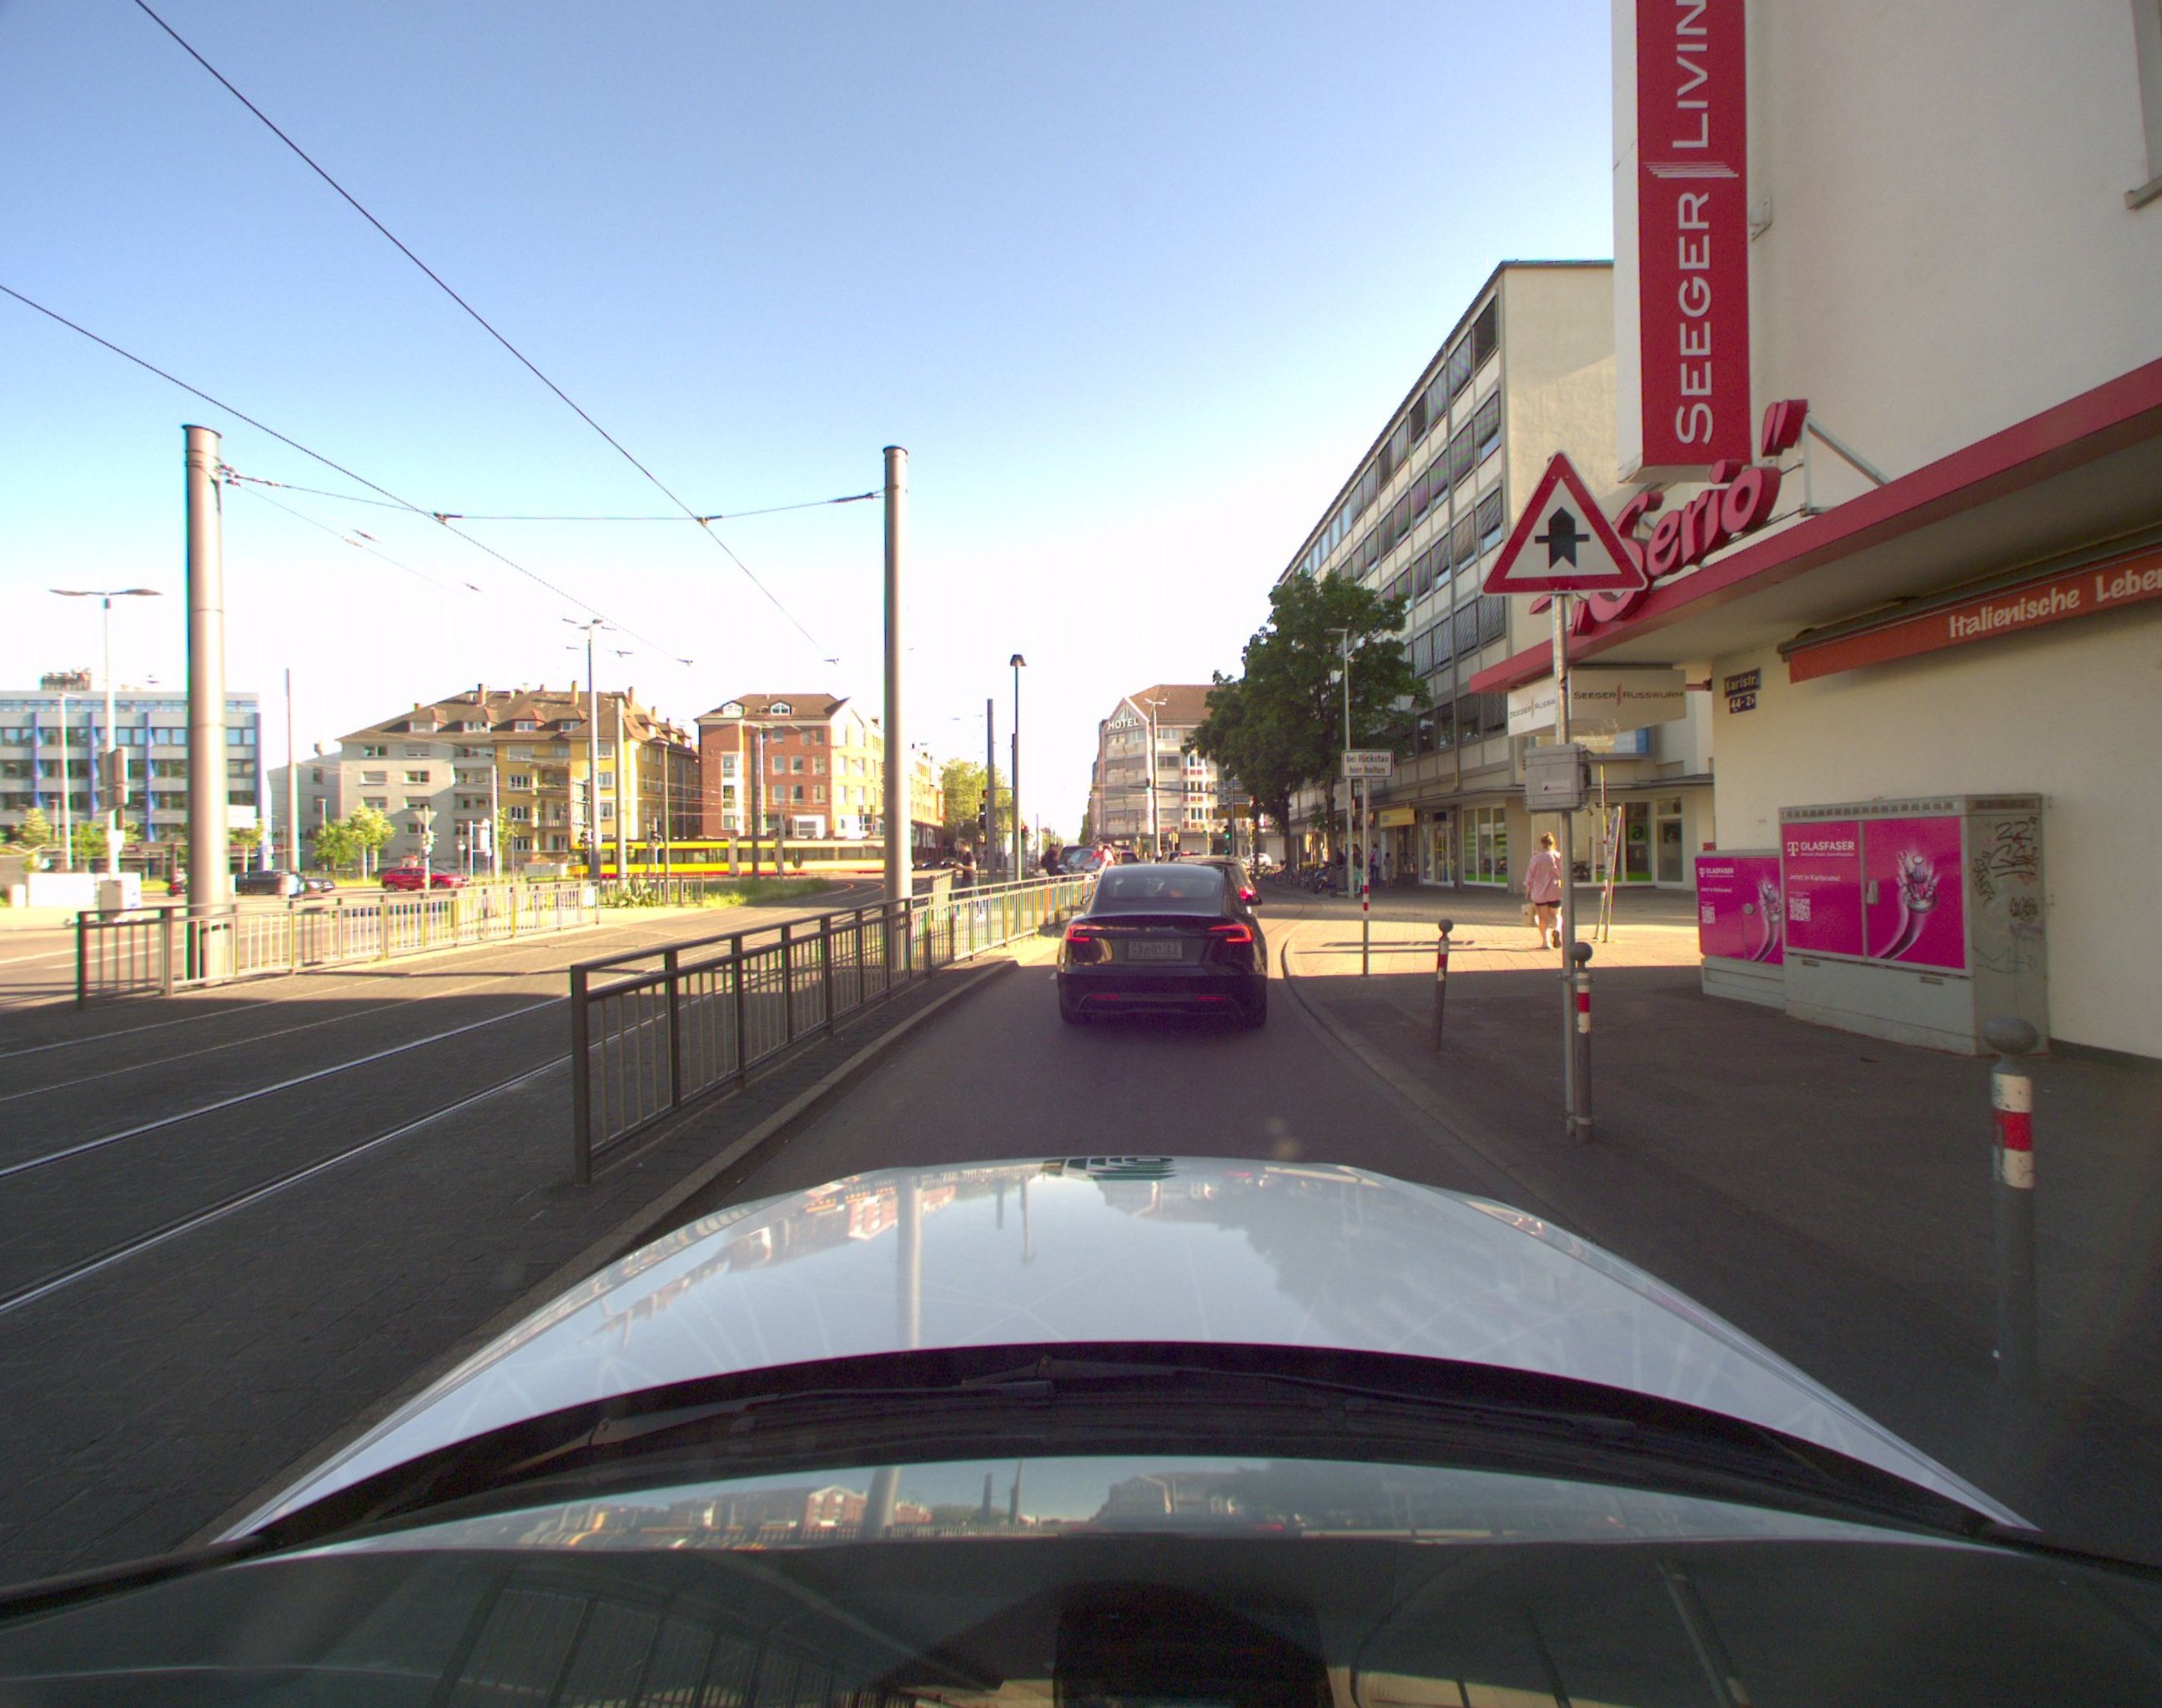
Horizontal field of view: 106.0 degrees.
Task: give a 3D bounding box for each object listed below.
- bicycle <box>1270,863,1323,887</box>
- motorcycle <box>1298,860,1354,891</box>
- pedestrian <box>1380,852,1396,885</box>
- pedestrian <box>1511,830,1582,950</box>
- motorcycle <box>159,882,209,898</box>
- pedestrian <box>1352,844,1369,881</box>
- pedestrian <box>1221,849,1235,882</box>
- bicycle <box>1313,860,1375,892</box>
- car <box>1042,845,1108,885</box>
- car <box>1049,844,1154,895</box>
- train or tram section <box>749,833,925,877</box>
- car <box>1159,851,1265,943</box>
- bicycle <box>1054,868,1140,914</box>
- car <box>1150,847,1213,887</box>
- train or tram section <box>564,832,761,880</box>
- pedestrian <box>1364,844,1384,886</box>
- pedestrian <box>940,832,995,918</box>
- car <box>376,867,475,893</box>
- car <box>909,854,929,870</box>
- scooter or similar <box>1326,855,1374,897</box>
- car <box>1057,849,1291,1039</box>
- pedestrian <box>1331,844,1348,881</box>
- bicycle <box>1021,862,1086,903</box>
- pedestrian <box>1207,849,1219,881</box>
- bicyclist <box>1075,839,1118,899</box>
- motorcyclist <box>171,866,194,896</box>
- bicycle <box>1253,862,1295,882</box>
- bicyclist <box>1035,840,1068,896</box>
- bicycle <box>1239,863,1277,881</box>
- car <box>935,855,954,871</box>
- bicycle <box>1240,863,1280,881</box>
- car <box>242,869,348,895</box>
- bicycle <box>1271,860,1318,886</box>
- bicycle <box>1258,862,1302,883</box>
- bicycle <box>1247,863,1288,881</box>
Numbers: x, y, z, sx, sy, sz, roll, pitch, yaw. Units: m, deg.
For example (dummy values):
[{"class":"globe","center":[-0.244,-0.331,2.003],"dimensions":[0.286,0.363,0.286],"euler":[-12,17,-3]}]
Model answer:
[{"class":"bicycle","center":[8.862,0.861,33.471],"dimensions":[2.044,0.982,0.483],"euler":[0,-1,1]},{"class":"motorcycle","center":[9.374,0.815,31.201],"dimensions":[1.985,1.128,0.596],"euler":[1,-1,-1]},{"class":"pedestrian","center":[12.128,0.578,32.172],"dimensions":[0.418,1.280,0.531],"euler":[-1,-1,1]},{"class":"pedestrian","center":[6.842,0.510,12.002],"dimensions":[0.810,1.683,0.718],"euler":[1,-1,23]},{"class":"motorcycle","center":[-51.832,2.093,47.075],"dimensions":[1.997,0.893,0.559],"euler":[1,-1,-8]},{"class":"pedestrian","center":[12.772,0.391,37.251],"dimensions":[0.529,1.641,0.594],"euler":[-2,-1,1]},{"class":"pedestrian","center":[7.203,0.571,39.891],"dimensions":[0.627,1.613,0.643],"euler":[0,0,3]},{"class":"bicycle","center":[9.423,0.794,29.200],"dimensions":[2.044,1.121,0.483],"euler":[0,-1,1]},{"class":"car","center":[-0.306,0.433,33.099],"dimensions":[1.826,1.519,4.199],"euler":[1,0,-13]},{"class":"car","center":[0.579,0.472,26.768],"dimensions":[1.792,1.519,4.183],"euler":[1,0,-25]},{"class":"train or tram section","center":[-21.915,0.215,74.416],"dimensions":[15.458,3.718,2.615],"euler":[1,-1,-38]},{"class":"car","center":[2.443,0.669,14.935],"dimensions":[1.643,1.418,4.012],"euler":[1,0,10]},{"class":"bicycle","center":[0.386,0.906,20.054],"dimensions":[1.975,1.072,0.771],"euler":[1,-1,-13]},{"class":"car","center":[4.093,0.522,33.668],"dimensions":[1.821,1.519,3.642],"euler":[1,0,-5]},{"class":"train or tram section","center":[-34.354,0.226,67.676],"dimensions":[14.178,3.715,2.668],"euler":[1,-1,-17]},{"class":"pedestrian","center":[11.583,0.442,32.191],"dimensions":[0.593,1.641,0.466],"euler":[-2,-1,1]},{"class":"pedestrian","center":[-2.370,0.436,17.017],"dimensions":[1.009,1.742,0.524],"euler":[1,-1,-25]},{"class":"car","center":[-39.127,1.545,48.675],"dimensions":[4.145,1.490,1.932],"euler":[0,0,-10]},{"class":"car","center":[-20.613,1.029,103.783],"dimensions":[1.990,2.014,3.993],"euler":[1,0,-5]},{"class":"scooter or similar","center":[8.872,0.721,26.868],"dimensions":[1.416,1.317,0.690],"euler":[0,-2,-26]},{"class":"car","center":[0.702,0.725,8.307],"dimensions":[1.844,1.484,3.785],"euler":[1,0,-1]},{"class":"pedestrian","center":[11.767,0.389,37.067],"dimensions":[0.529,1.641,0.607],"euler":[-2,-1,1]},{"class":"bicycle","center":[-0.779,0.783,22.526],"dimensions":[1.727,1.088,0.676],"euler":[1,-1,-8]},{"class":"pedestrian","center":[6.868,0.560,42.535],"dimensions":[0.559,1.683,0.751],"euler":[0,0,5]},{"class":"bicyclist","center":[0.380,0.364,19.966],"dimensions":[0.909,1.438,0.625],"euler":[1,-1,-14]},{"class":"motorcyclist","center":[-51.901,1.553,47.066],"dimensions":[0.781,1.708,0.387],"euler":[1,-1,-8]},{"class":"bicycle","center":[9.332,0.885,39.380],"dimensions":[1.917,0.950,0.526],"euler":[0,-1,1]},{"class":"bicyclist","center":[-0.810,0.383,22.499],"dimensions":[0.836,1.500,0.558],"euler":[1,-1,-8]},{"class":"bicycle","center":[9.235,0.934,42.510],"dimensions":[1.917,0.890,0.526],"euler":[0,-1,1]},{"class":"car","center":[-17.870,1.154,106.788],"dimensions":[1.990,2.014,3.993],"euler":[1,0,-5]},{"class":"bicycle","center":[9.138,0.926,41.574],"dimensions":[1.917,0.890,0.526],"euler":[0,-1,1]},{"class":"car","center":[-46.594,1.656,48.367],"dimensions":[4.145,1.490,1.932],"euler":[1,0,-10]},{"class":"bicycle","center":[9.274,0.822,35.373],"dimensions":[1.917,1.097,0.555],"euler":[0,-1,1]},{"class":"bicycle","center":[9.361,0.879,38.364],"dimensions":[1.917,0.950,0.526],"euler":[0,-1,1]},{"class":"bicycle","center":[9.278,0.904,40.503],"dimensions":[1.917,0.888,0.526],"euler":[0,-1,1]}]
